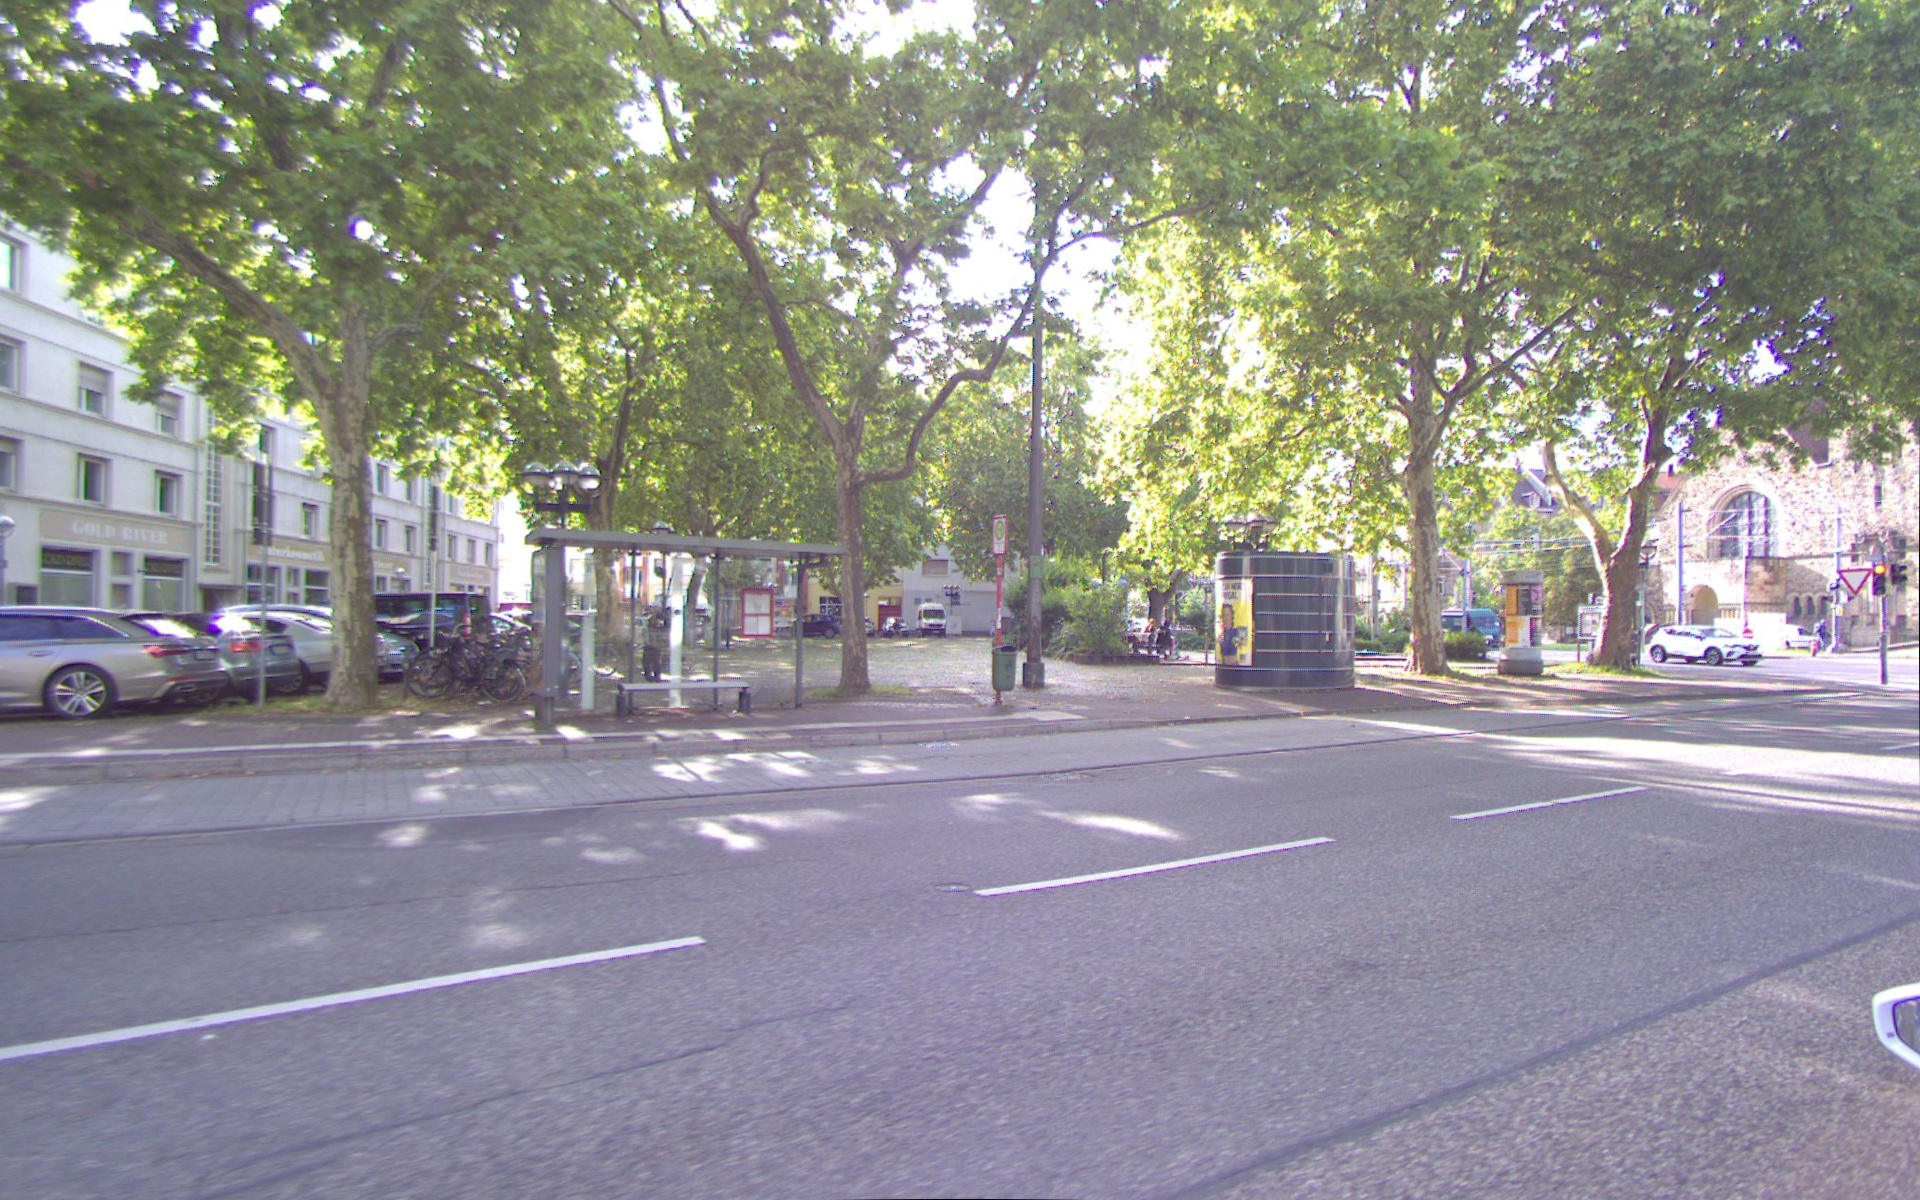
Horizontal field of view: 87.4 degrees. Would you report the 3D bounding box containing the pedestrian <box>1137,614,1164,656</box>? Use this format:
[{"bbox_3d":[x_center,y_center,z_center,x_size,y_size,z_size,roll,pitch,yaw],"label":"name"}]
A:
[{"bbox_3d":[6.139,1.123,32.373,0.709,1.306,0.818,2,1,2],"label":"pedestrian"}]

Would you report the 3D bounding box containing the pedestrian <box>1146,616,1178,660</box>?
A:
[{"bbox_3d":[6.307,1.167,31.363,0.711,1.306,0.816,3,2,34],"label":"pedestrian"}]

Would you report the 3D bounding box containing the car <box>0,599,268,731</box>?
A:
[{"bbox_3d":[-12.402,0.809,13.252,4.894,1.606,2.233,1,-1,-17],"label":"car"}]

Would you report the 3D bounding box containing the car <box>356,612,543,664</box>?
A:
[{"bbox_3d":[-14.302,1.067,28.371,4.308,1.396,1.857,0,-1,-9],"label":"car"}]

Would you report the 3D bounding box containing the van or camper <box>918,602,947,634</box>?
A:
[{"bbox_3d":[-2.125,1.379,76.860,2.071,2.359,4.490,0,-1,-4],"label":"van or camper"}]

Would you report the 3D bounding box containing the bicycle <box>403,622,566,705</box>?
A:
[{"bbox_3d":[-7.861,1.036,16.749,2.064,1.225,1.392,3,-1,-7],"label":"bicycle"}]

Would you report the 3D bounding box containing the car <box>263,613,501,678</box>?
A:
[{"bbox_3d":[-13.068,1.011,22.983,4.308,1.396,1.857,0,-1,-9],"label":"car"}]

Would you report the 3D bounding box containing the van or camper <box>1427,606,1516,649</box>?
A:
[{"bbox_3d":[30.747,1.636,60.604,2.143,2.467,5.466,0,-1,-6],"label":"van or camper"}]

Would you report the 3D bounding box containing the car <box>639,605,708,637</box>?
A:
[{"bbox_3d":[-18.652,1.348,65.540,3.924,1.868,1.998,2,1,-5],"label":"car"}]

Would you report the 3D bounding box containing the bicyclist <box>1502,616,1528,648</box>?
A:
[{"bbox_3d":[26.777,1.559,48.472,0.703,1.523,0.882,0,-1,-13],"label":"bicyclist"}]

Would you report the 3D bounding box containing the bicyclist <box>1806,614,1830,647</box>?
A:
[{"bbox_3d":[45.538,1.612,53.304,0.705,1.684,0.726,0,-1,11],"label":"bicyclist"}]

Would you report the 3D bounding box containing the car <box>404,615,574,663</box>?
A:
[{"bbox_3d":[-14.295,1.179,30.708,4.308,1.396,1.857,0,-1,-9],"label":"car"}]

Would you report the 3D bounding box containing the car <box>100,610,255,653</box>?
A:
[{"bbox_3d":[-24.957,0.999,32.153,3.496,1.321,1.648,1,-1,-11],"label":"car"}]

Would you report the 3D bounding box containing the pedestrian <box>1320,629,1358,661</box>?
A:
[{"bbox_3d":[12.069,1.423,31.988,1.019,0.992,0.761,0,-1,10],"label":"pedestrian"}]

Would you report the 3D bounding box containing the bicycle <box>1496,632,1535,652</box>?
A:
[{"bbox_3d":[26.770,2.011,48.454,0.693,0.887,1.723,0,-1,-12],"label":"bicycle"}]

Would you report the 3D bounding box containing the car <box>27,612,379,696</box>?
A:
[{"bbox_3d":[-13.291,0.925,17.911,4.750,1.396,1.670,0,-1,-9],"label":"car"}]

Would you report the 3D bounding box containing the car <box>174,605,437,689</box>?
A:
[{"bbox_3d":[-13.386,0.955,20.774,4.199,1.638,1.681,0,-1,-9],"label":"car"}]

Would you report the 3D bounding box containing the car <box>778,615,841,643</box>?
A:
[{"bbox_3d":[-9.655,1.837,64.470,3.929,1.795,1.887,0,-1,-11],"label":"car"}]

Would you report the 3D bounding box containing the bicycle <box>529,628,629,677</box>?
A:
[{"bbox_3d":[-8.946,1.237,23.650,2.055,1.096,0.702,1,-1,-8],"label":"bicycle"}]

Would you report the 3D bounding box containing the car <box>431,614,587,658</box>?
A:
[{"bbox_3d":[-14.742,1.179,33.070,4.308,1.396,1.857,0,-1,-9],"label":"car"}]

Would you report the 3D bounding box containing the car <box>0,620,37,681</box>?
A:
[{"bbox_3d":[-22.684,1.086,21.817,3.496,1.321,1.648,1,-1,-11],"label":"car"}]

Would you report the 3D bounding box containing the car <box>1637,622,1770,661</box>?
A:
[{"bbox_3d":[30.323,1.661,41.125,1.865,1.499,4.253,0,-1,-11],"label":"car"}]

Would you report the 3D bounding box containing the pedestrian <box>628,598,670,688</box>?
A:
[{"bbox_3d":[-6.134,0.848,19.827,0.698,1.738,0.498,1,-1,-30],"label":"pedestrian"}]

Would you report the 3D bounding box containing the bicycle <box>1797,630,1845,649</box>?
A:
[{"bbox_3d":[45.764,2.093,53.388,1.886,0.993,0.638,0,-1,10],"label":"bicycle"}]

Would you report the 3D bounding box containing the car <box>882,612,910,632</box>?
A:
[{"bbox_3d":[-4.883,1.701,77.015,2.071,1.466,4.490,0,-1,-4],"label":"car"}]
